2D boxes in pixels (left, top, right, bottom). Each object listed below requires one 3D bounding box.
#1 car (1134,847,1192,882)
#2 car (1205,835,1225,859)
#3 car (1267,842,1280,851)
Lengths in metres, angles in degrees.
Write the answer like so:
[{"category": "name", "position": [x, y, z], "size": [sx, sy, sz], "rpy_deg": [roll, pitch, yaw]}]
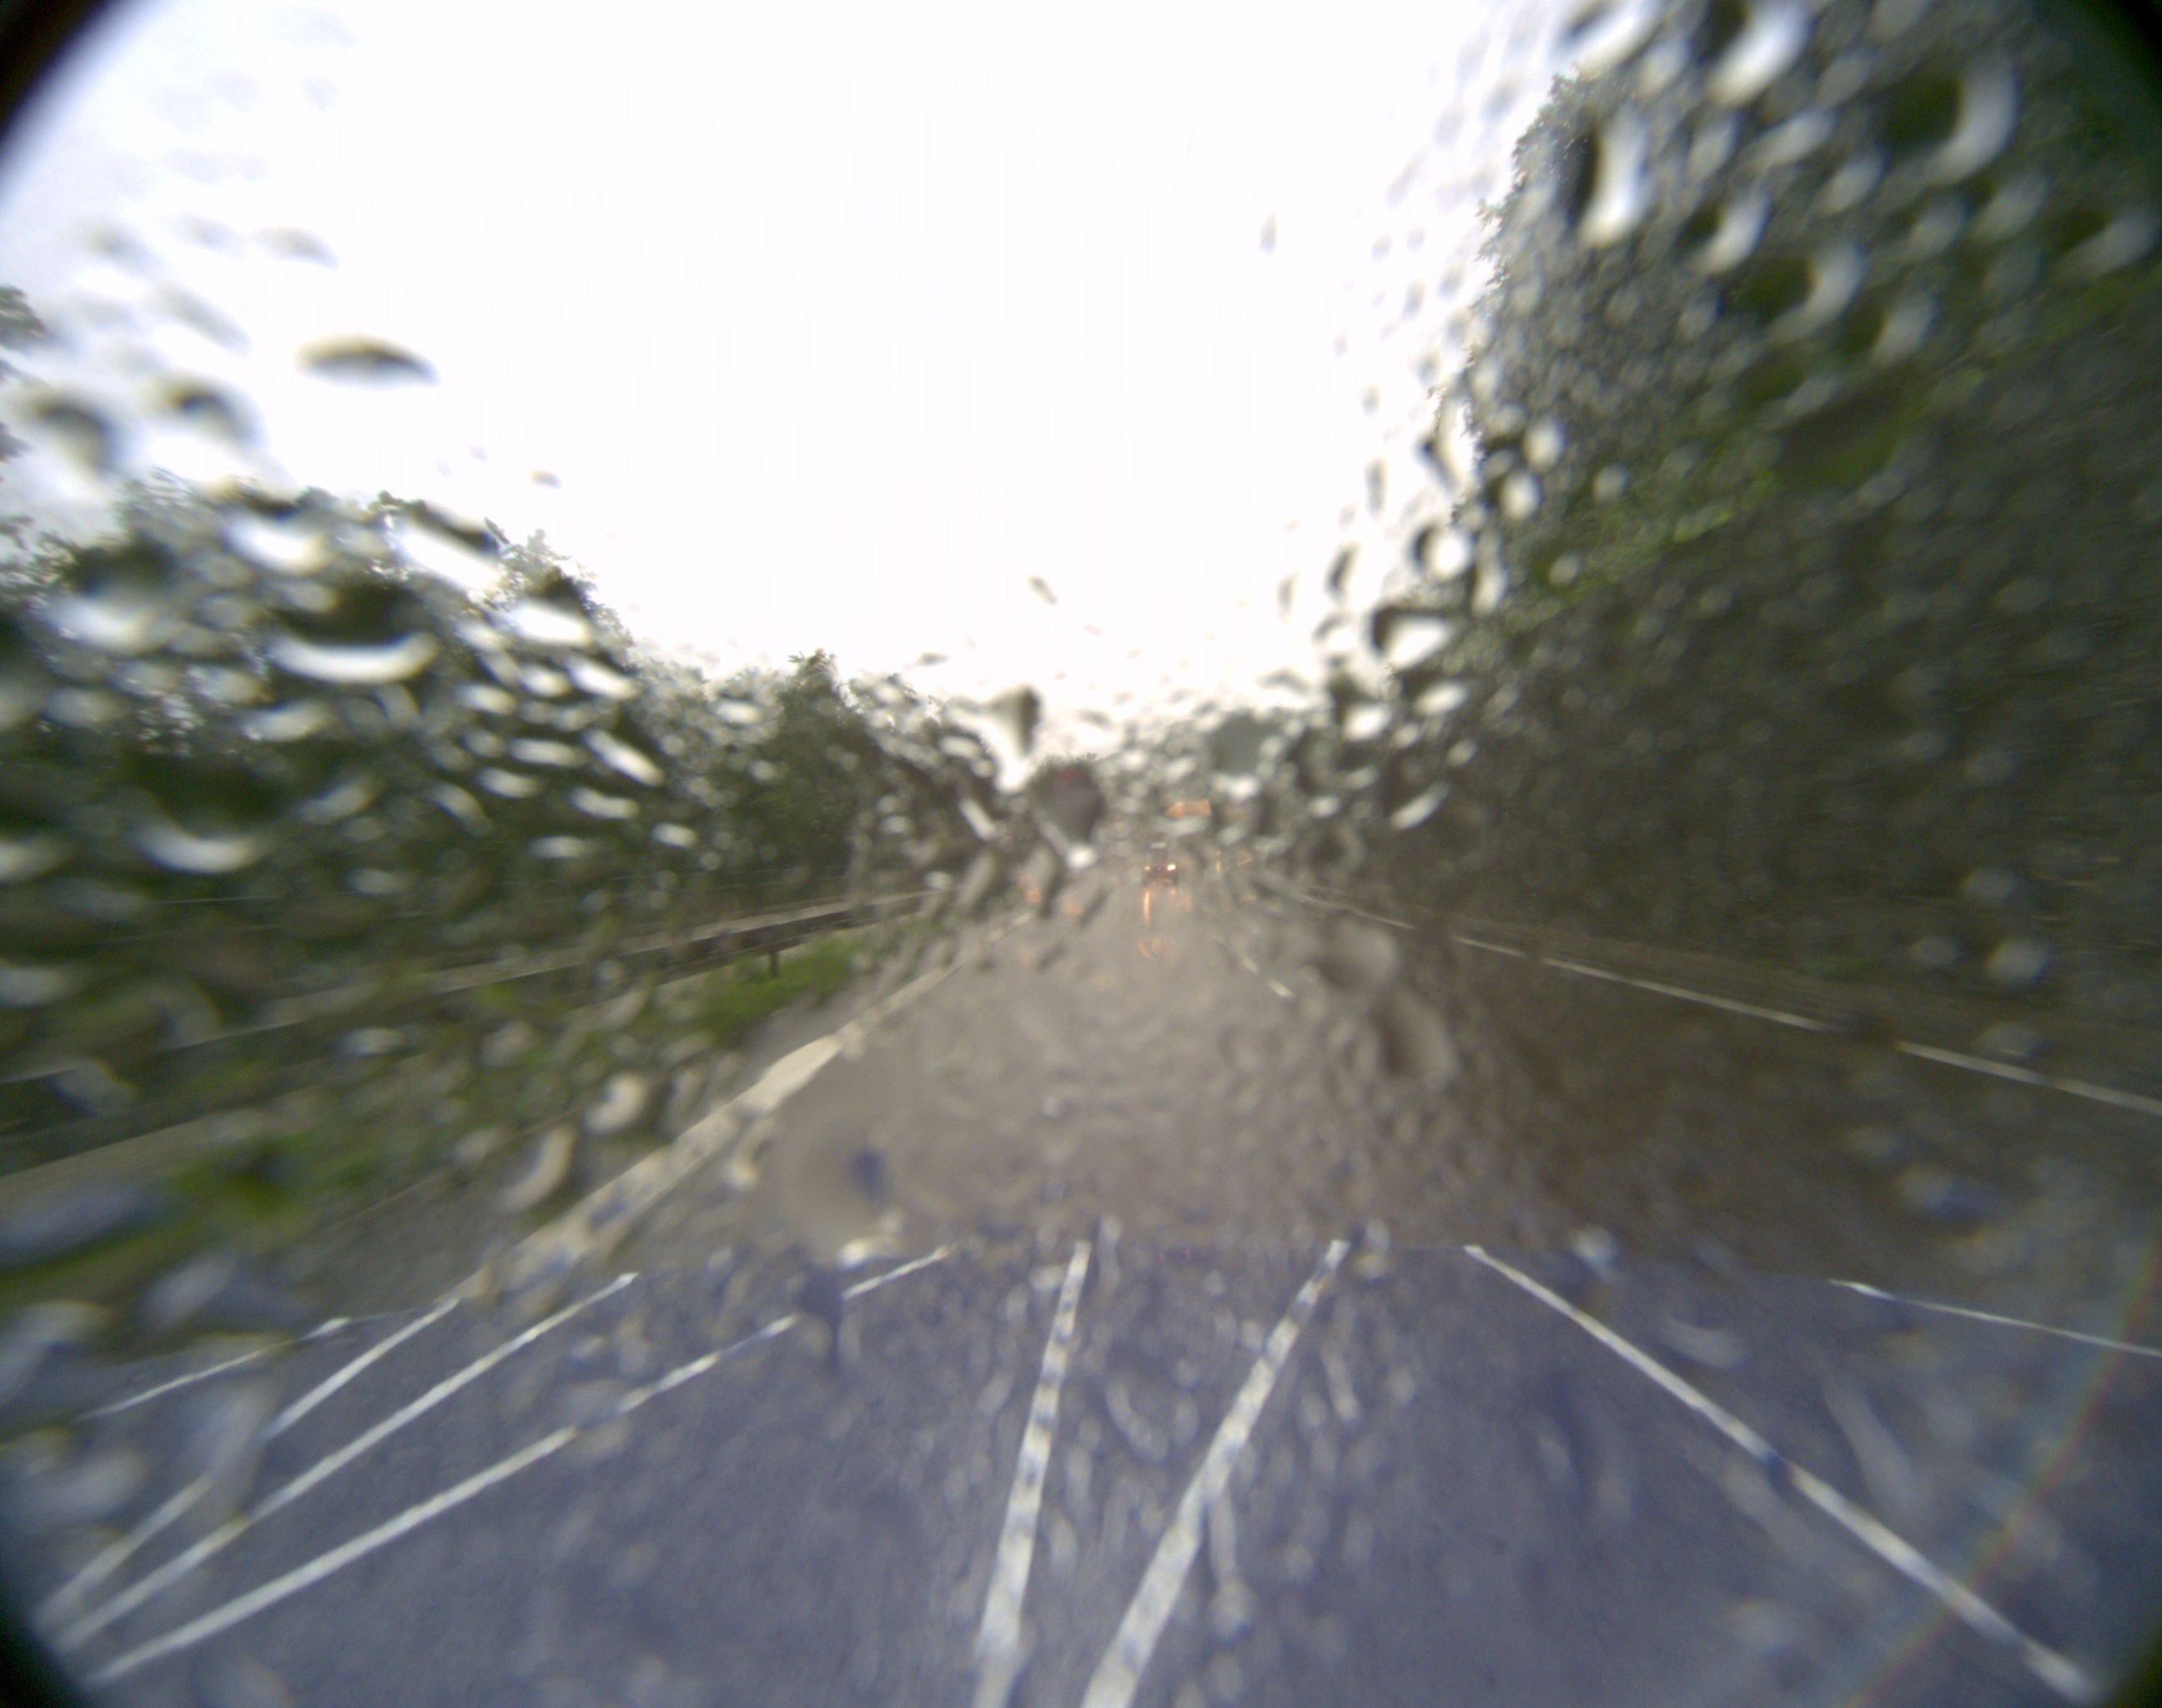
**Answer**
[{"category": "car", "position": [4.192, 0.461, 38.013], "size": [2.357, 1.549, 5.503], "rpy_deg": [-1, 1, 11]}, {"category": "car", "position": [17.068, -0.911, 96.619], "size": [1.739, 3.008, 4.005], "rpy_deg": [-1, 1, 20]}, {"category": "car", "position": [36.423, -1.511, 143.796], "size": [1.735, 1.656, 3.872], "rpy_deg": [-1, 1, 22]}]
